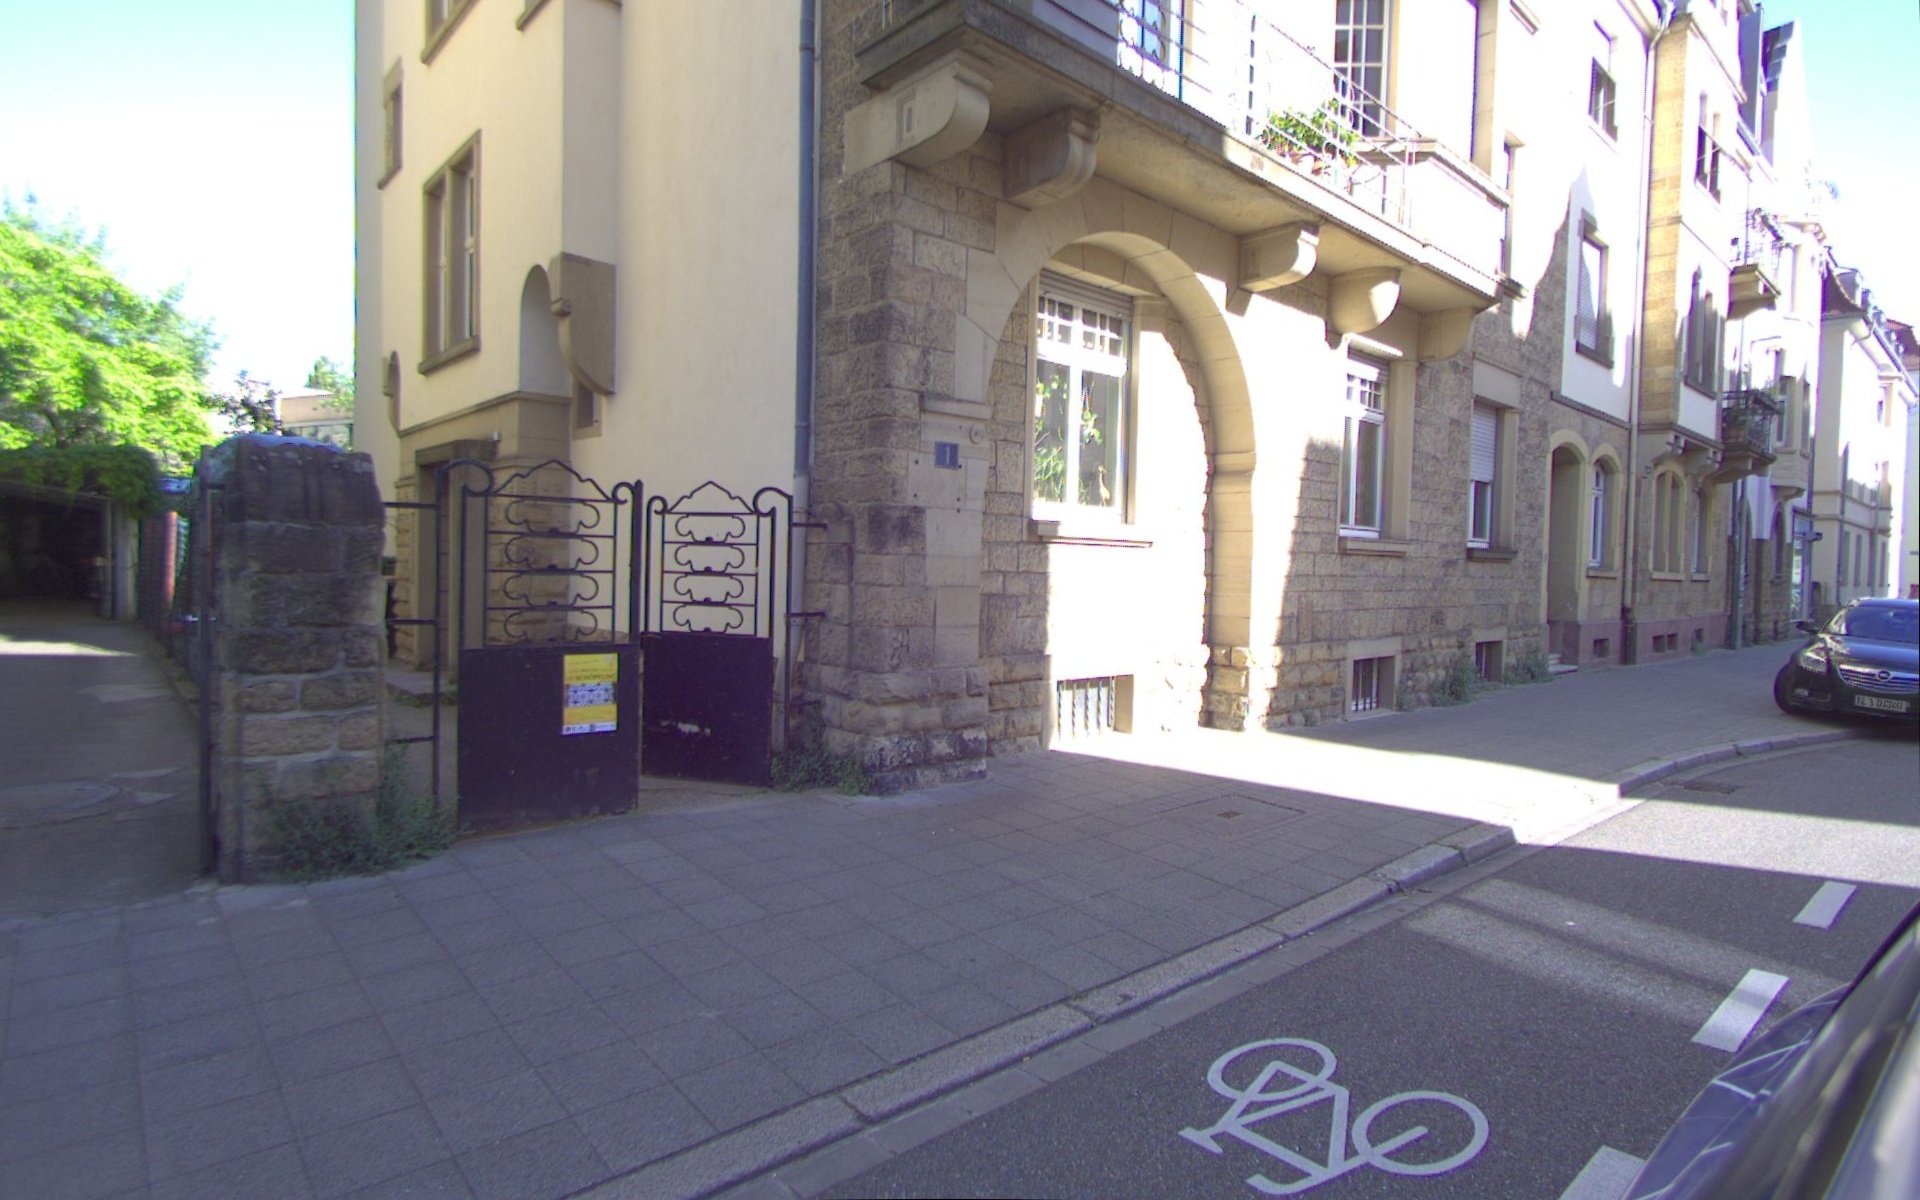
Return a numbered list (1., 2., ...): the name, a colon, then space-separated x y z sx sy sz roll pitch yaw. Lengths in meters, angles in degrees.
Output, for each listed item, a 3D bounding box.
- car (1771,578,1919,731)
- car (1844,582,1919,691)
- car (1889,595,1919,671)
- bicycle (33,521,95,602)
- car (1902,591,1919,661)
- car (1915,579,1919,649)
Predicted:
1. car: 11.486 0.569 12.166 4.043 1.526 2.023 -1 5 -42
2. car: 15.530 0.565 15.863 4.247 1.527 2.004 0 3 -42
3. car: 18.793 0.618 18.967 3.667 1.295 1.659 -1 4 -42
4. bicycle: -18.303 -0.816 20.722 0.903 1.530 2.672 0 4 -41
5. car: 22.170 0.581 22.188 4.247 1.440 1.823 -1 4 -42
6. car: 26.233 0.336 26.045 4.247 1.860 2.004 -1 4 -42
